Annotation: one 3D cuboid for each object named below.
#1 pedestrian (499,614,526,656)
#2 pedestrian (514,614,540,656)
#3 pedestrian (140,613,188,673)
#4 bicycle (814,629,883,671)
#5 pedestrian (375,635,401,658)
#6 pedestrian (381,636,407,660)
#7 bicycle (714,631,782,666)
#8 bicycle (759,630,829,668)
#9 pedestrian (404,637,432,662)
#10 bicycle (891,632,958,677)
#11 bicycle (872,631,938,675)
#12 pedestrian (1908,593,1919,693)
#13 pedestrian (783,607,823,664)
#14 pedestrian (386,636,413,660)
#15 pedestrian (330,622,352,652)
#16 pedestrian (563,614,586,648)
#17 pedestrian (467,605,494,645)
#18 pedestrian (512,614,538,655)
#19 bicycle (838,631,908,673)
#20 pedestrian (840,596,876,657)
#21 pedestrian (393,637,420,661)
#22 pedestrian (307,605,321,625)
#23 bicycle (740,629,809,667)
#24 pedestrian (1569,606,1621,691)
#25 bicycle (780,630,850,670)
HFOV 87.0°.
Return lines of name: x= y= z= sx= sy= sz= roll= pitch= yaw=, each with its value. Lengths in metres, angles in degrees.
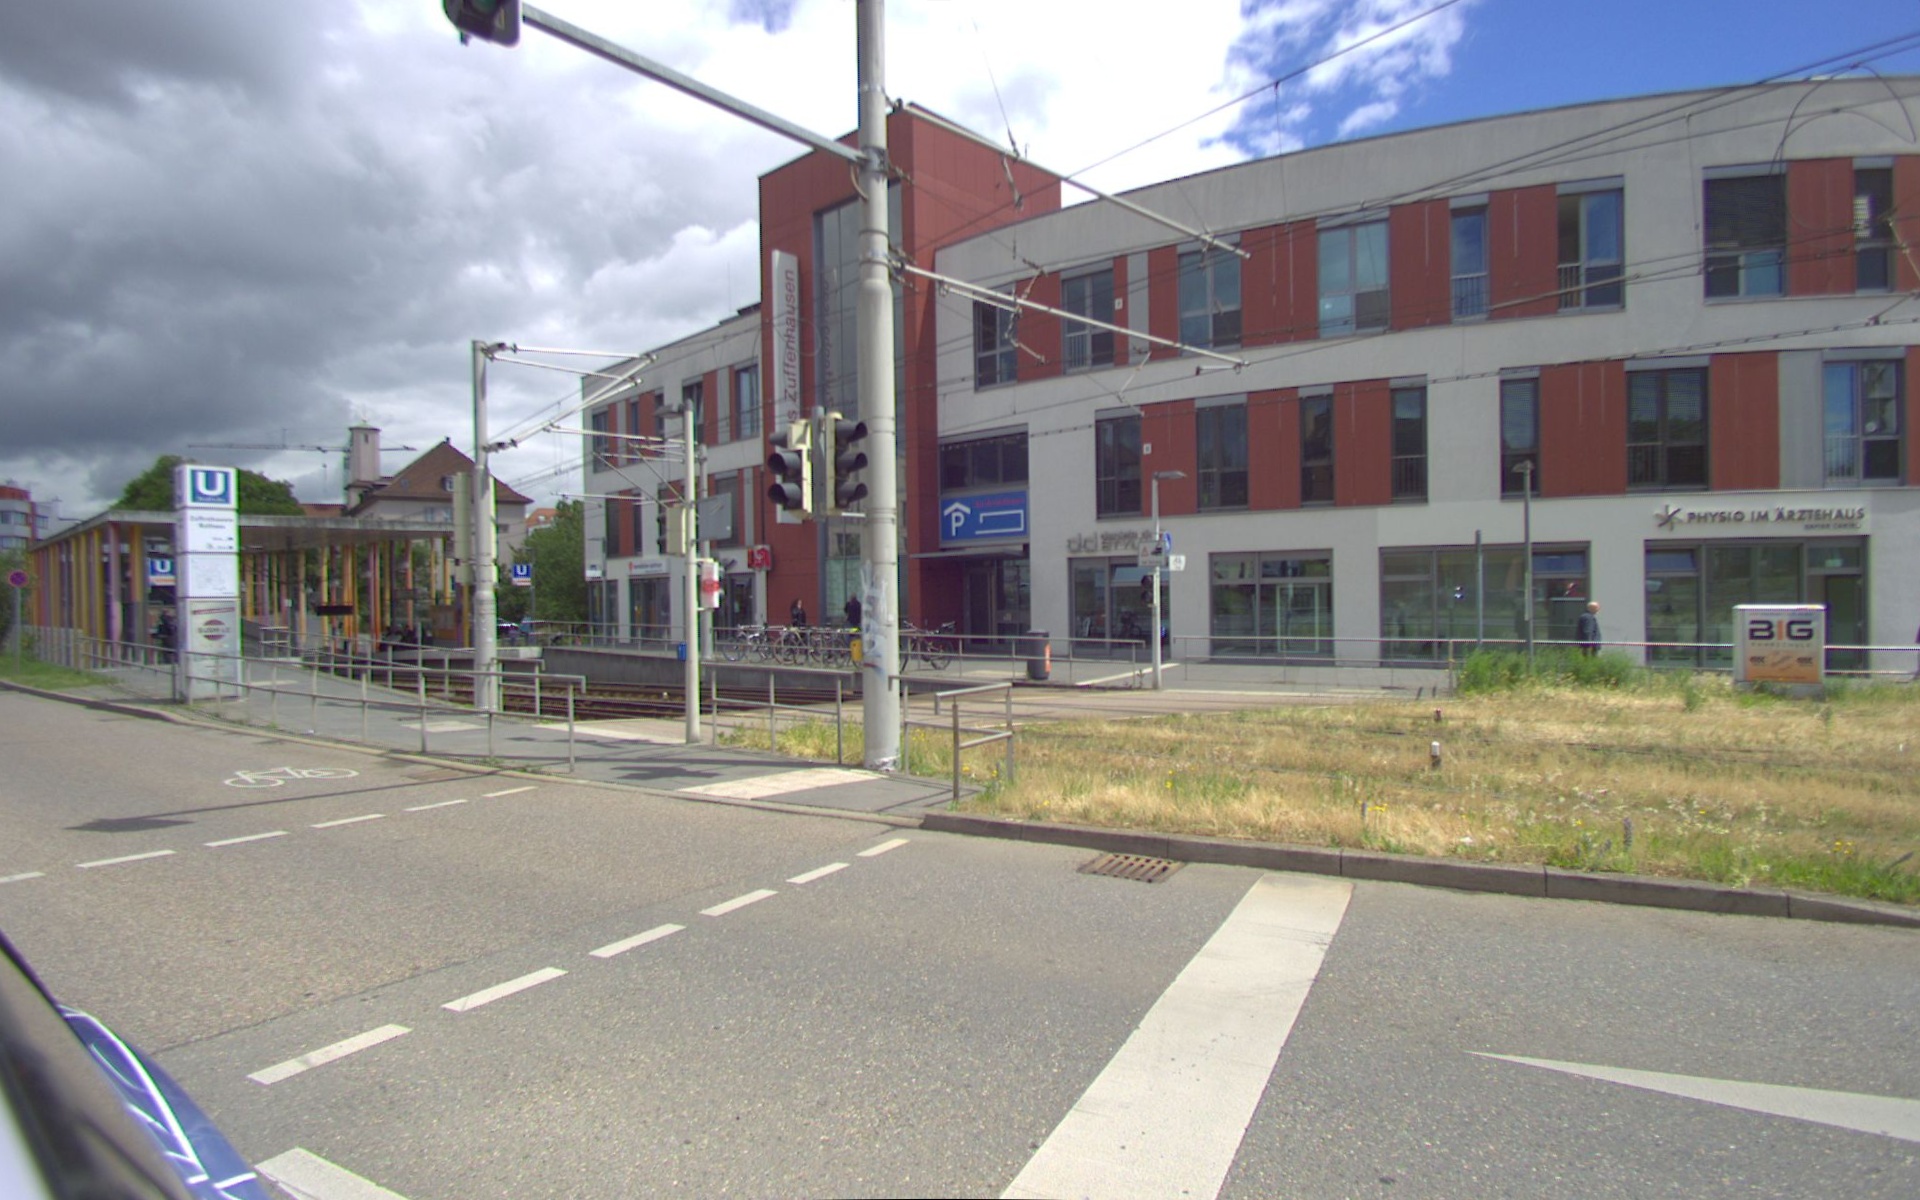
pedestrian: x=-21.370 y=1.661 z=48.326 sx=0.851 sy=1.983 sz=1.107 roll=1 pitch=-1 yaw=-42
pedestrian: x=-20.878 y=1.670 z=48.791 sx=0.851 sy=1.983 sz=1.107 roll=1 pitch=-1 yaw=-42
pedestrian: x=-26.085 y=1.404 z=33.169 sx=0.865 sy=1.929 sz=1.090 roll=-1 pitch=-2 yaw=44
bicycle: x=-2.760 y=1.243 z=25.284 sx=1.836 sy=0.970 sz=0.455 roll=0 pitch=0 yaw=-45
pedestrian: x=-28.875 y=2.324 z=51.110 sx=0.886 sy=1.143 sz=0.931 roll=-2 pitch=-2 yaw=44
pedestrian: x=-28.134 y=2.363 z=50.308 sx=0.886 sy=1.143 sz=0.931 roll=-2 pitch=-2 yaw=44
bicycle: x=-5.826 y=1.318 z=27.868 sx=1.834 sy=0.888 sz=0.455 roll=0 pitch=0 yaw=-39
bicycle: x=-4.355 y=1.273 z=26.579 sx=1.834 sy=0.929 sz=0.455 roll=0 pitch=0 yaw=-40
pedestrian: x=-25.931 y=2.348 z=48.415 sx=0.886 sy=1.143 sz=0.931 roll=-2 pitch=-2 yaw=44
bicycle: x=-0.806 y=1.247 z=23.562 sx=1.716 sy=0.959 sz=0.428 roll=0 pitch=0 yaw=-45
bicycle: x=-1.282 y=1.248 z=23.979 sx=1.716 sy=0.965 sz=0.428 roll=0 pitch=0 yaw=-45
pedestrian: x=19.611 y=0.852 z=19.921 sx=1.088 sy=1.983 sz=0.866 roll=1 pitch=-1 yaw=-8
pedestrian: x=-4.764 y=1.060 z=30.754 sx=0.933 sy=1.711 sz=0.780 roll=0 pitch=-1 yaw=34
pedestrian: x=-27.465 y=2.355 z=49.570 sx=0.886 sy=1.143 sz=0.931 roll=-2 pitch=-2 yaw=44
pedestrian: x=-42.817 y=2.555 z=70.045 sx=1.111 sy=2.029 sz=1.180 roll=1 pitch=-2 yaw=-42
pedestrian: x=-22.820 y=1.851 z=59.847 sx=1.087 sy=1.983 sz=0.867 roll=1 pitch=-1 yaw=-34
pedestrian: x=-24.086 y=1.254 z=50.833 sx=1.106 sy=1.983 sz=0.852 roll=-1 pitch=-2 yaw=45
pedestrian: x=-21.572 y=1.699 z=50.177 sx=0.851 sy=1.983 sz=1.107 roll=1 pitch=-1 yaw=-42
bicycle: x=-2.095 y=1.251 z=24.630 sx=1.836 sy=0.942 sz=0.455 roll=0 pitch=0 yaw=-45
pedestrian: x=-3.158 y=0.810 z=31.443 sx=0.856 sy=1.859 sz=0.876 roll=0 pitch=1 yaw=14
pedestrian: x=-26.766 y=2.350 z=48.914 sx=0.886 sy=1.143 sz=0.931 roll=-2 pitch=-2 yaw=44
pedestrian: x=-64.255 y=1.484 z=100.656 sx=1.108 sy=2.029 sz=1.664 roll=0 pitch=-2 yaw=-32
bicycle: x=-4.952 y=1.278 z=27.155 sx=1.834 sy=0.939 sz=0.455 roll=0 pitch=0 yaw=-39
pedestrian: x=12.129 y=0.913 z=19.360 sx=0.687 sy=1.592 sz=0.730 roll=-1 pitch=-2 yaw=23
bicycle: x=-3.700 y=1.257 z=25.960 sx=1.835 sy=0.946 sz=0.455 roll=0 pitch=0 yaw=-43
